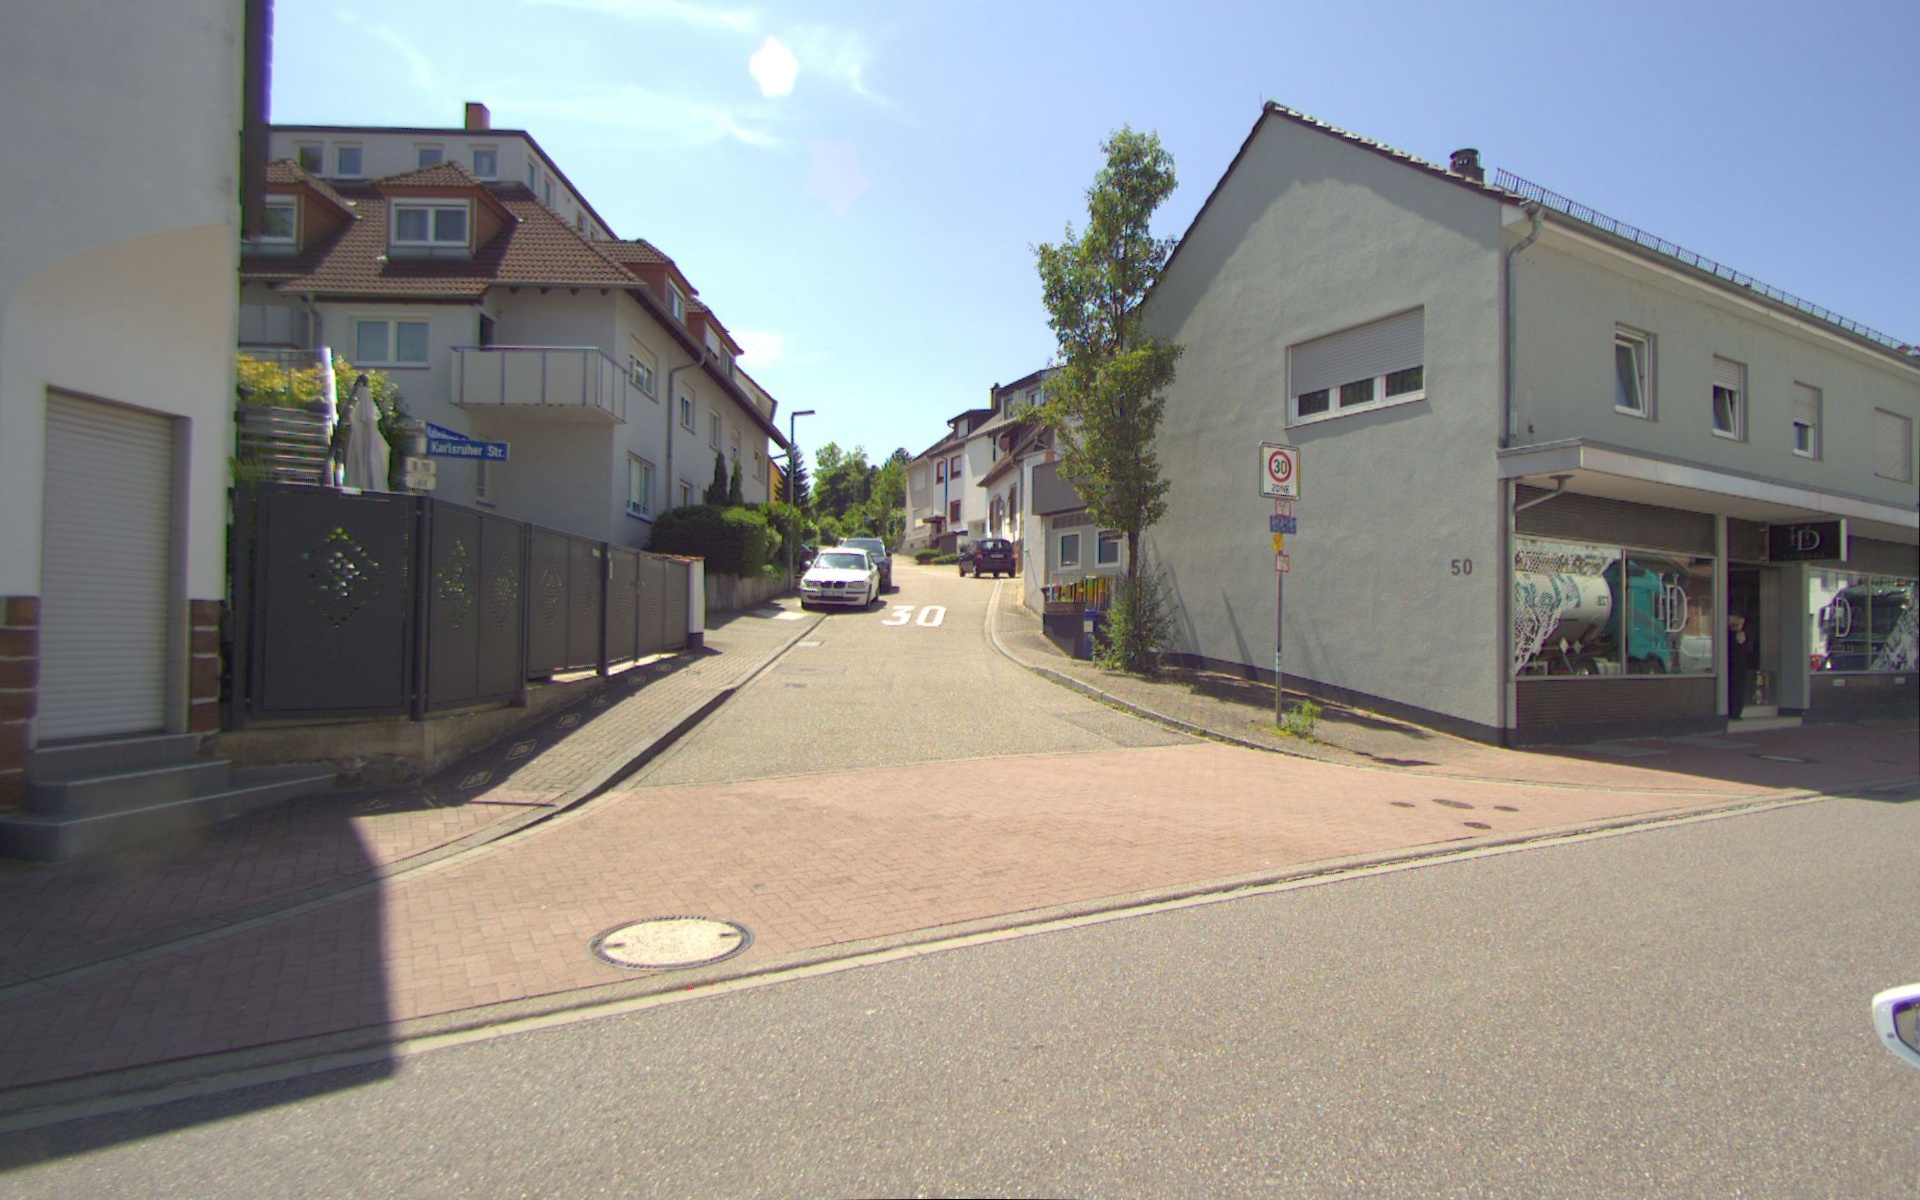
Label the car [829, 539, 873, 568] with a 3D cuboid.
[{"bbox_3d":[-5.893,-2.505,53.968,1.814,1.484,3.909,1,3,-14],"label":"car"}]

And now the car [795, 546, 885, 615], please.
[{"bbox_3d":[-2.988,-0.568,25.806,1.809,1.426,3.920,2,5,0],"label":"car"}]

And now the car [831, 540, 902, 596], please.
[{"bbox_3d":[-2.851,-1.046,31.409,1.809,1.426,3.920,2,5,0],"label":"car"}]

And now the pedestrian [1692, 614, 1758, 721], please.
[{"bbox_3d":[12.647,1.097,16.612,0.762,1.707,0.621,2,-1,-31],"label":"pedestrian"}]

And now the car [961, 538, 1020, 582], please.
[{"bbox_3d":[1.118,-1.586,38.783,1.652,1.519,3.807,2,4,-8],"label":"car"}]
